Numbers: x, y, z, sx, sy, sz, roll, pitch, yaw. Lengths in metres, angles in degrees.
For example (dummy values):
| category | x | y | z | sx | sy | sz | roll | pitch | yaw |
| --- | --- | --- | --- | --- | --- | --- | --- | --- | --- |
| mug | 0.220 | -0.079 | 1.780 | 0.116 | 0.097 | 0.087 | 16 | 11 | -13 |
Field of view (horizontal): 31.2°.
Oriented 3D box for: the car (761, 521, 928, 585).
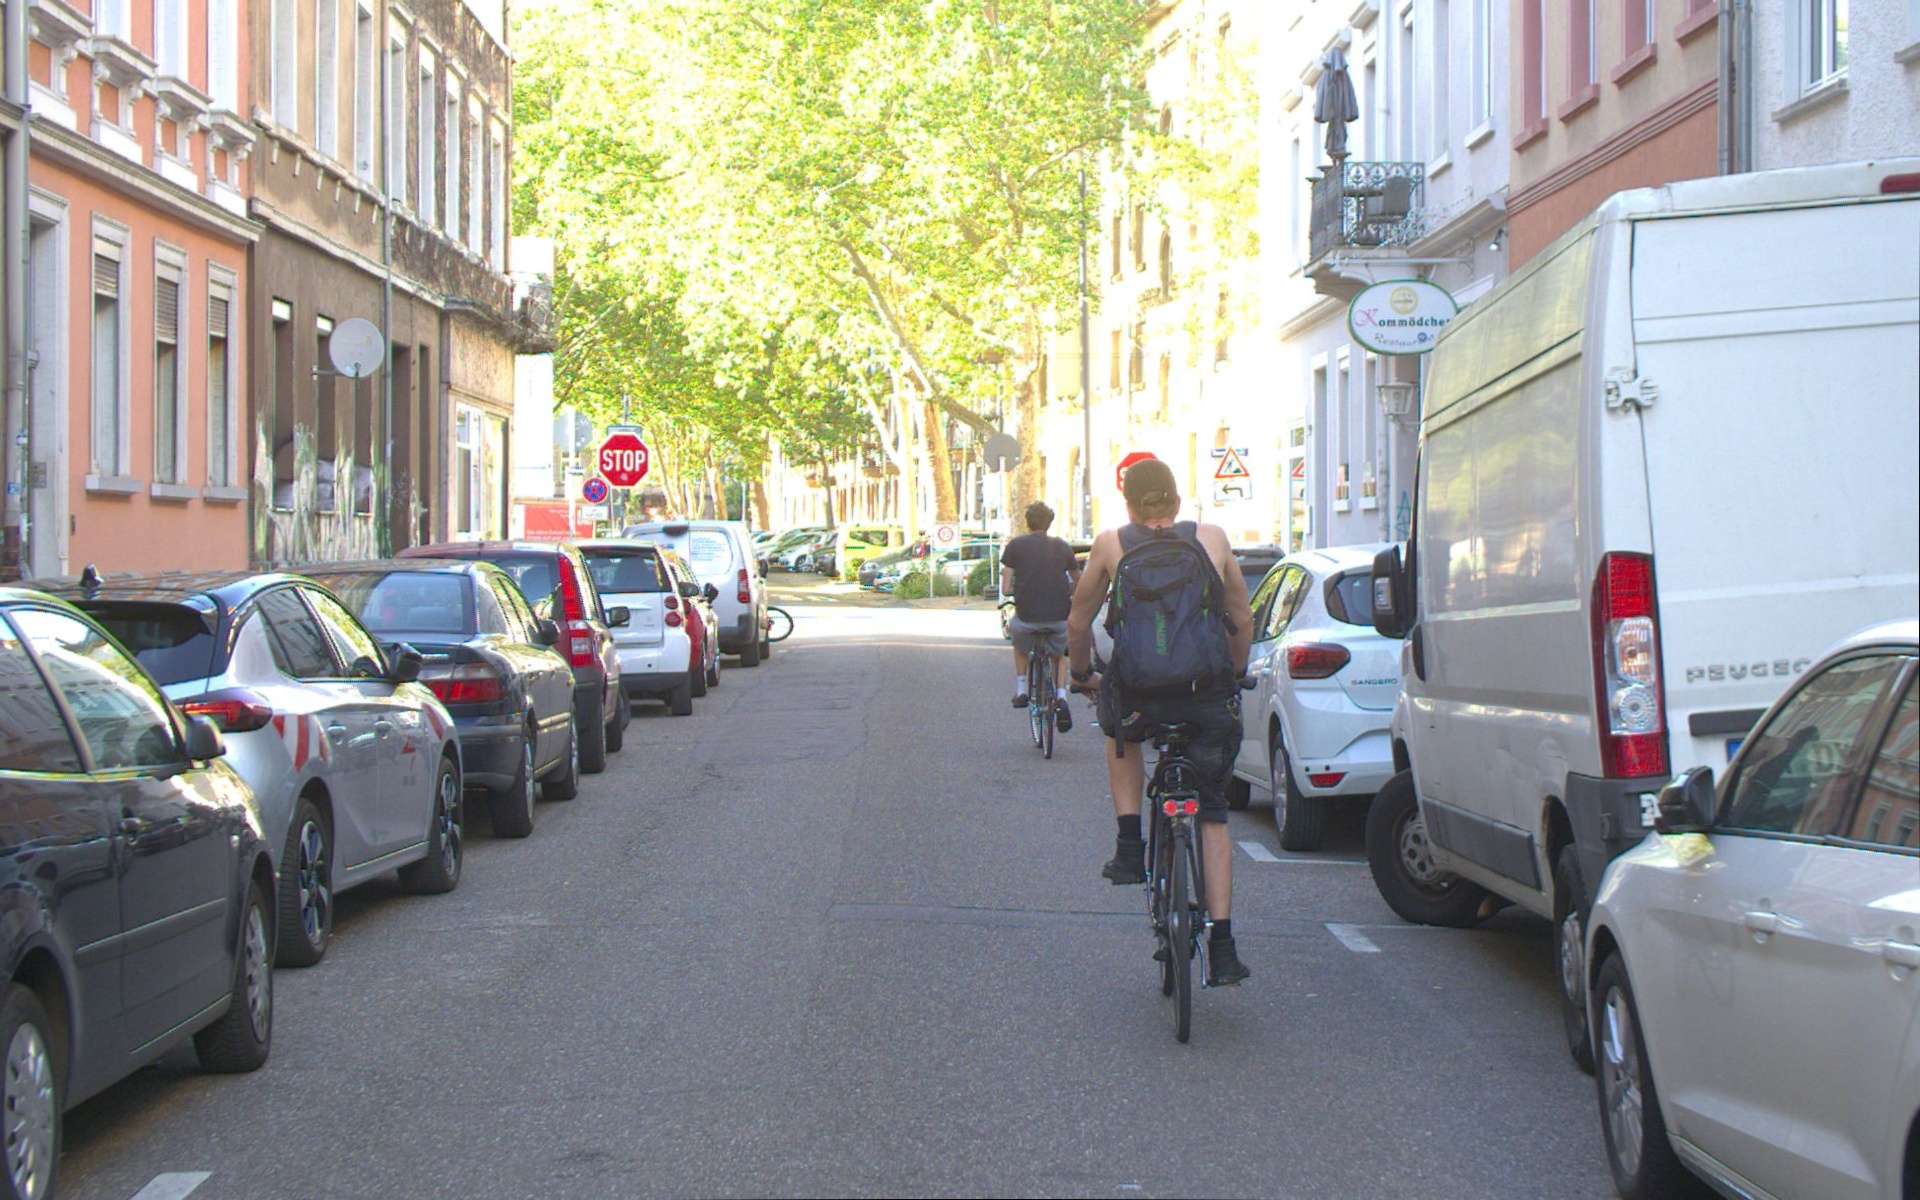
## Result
| category | x | y | z | sx | sy | sz | roll | pitch | yaw |
| --- | --- | --- | --- | --- | --- | --- | --- | --- | --- |
| car | -3.179 | -1.300 | 94.239 | 4.468 | 1.690 | 1.867 | -1 | 1 | -5 |

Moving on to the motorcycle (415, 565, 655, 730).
| category | x | y | z | sx | sy | sz | roll | pitch | yaw |
| --- | --- | --- | --- | --- | --- | --- | --- | --- | --- |
| motorcycle | -3.370 | 0.363 | 27.245 | 1.795 | 1.251 | 0.710 | -1 | 1 | -14 |

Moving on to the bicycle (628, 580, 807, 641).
| category | x | y | z | sx | sy | sz | roll | pitch | yaw |
| --- | --- | --- | --- | --- | --- | --- | --- | --- | --- |
| bicycle | -3.708 | 0.159 | 52.698 | 2.715 | 0.889 | 0.619 | -1 | 1 | -3 |

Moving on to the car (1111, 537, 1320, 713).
| category | x | y | z | sx | sy | sz | roll | pitch | yaw |
| --- | --- | --- | --- | --- | --- | --- | --- | --- | --- |
| car | 2.272 | 0.178 | 31.395 | 1.592 | 1.487 | 3.876 | -1 | 1 | 0 |

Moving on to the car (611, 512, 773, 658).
| category | x | y | z | sx | sy | sz | roll | pitch | yaw |
| --- | --- | --- | --- | --- | --- | --- | --- | --- | --- |
| car | -3.319 | -0.223 | 43.192 | 1.787 | 1.731 | 3.876 | -1 | 1 | -1 |

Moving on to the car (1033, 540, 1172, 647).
| category | x | y | z | sx | sy | sz | roll | pitch | yaw |
| --- | --- | --- | --- | --- | --- | --- | --- | --- | --- |
| car | 2.021 | -0.119 | 49.534 | 1.686 | 1.466 | 3.575 | -1 | 1 | -2 |

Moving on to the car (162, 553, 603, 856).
| category | x | y | z | sx | sy | sz | roll | pitch | yaw |
| --- | --- | --- | --- | --- | --- | --- | --- | --- | --- |
| car | -2.996 | 0.473 | 18.662 | 1.706 | 1.409 | 4.302 | -1 | 1 | -1 |

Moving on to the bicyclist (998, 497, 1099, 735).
| category | x | y | z | sx | sy | sz | roll | pitch | yaw |
| --- | --- | --- | --- | --- | --- | --- | --- | --- | --- |
| bicyclist | 0.622 | 0.103 | 24.365 | 0.669 | 1.653 | 0.877 | -1 | 1 | -1 |

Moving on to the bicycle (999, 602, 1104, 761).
| category | x | y | z | sx | sy | sz | roll | pitch | yaw |
| --- | --- | --- | --- | --- | --- | --- | --- | --- | --- |
| bicycle | 0.633 | 0.558 | 24.422 | 0.664 | 1.034 | 1.959 | -1 | 1 | -1 |

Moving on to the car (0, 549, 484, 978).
| category | x | y | z | sx | sy | sz | roll | pitch | yaw |
| --- | --- | --- | --- | --- | --- | --- | --- | --- | --- |
| car | -3.041 | 0.530 | 13.602 | 1.674 | 1.425 | 3.888 | -1 | 1 | 1 |

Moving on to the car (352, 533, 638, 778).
| category | x | y | z | sx | sy | sz | roll | pitch | yaw |
| --- | --- | --- | --- | --- | --- | --- | --- | --- | --- |
| car | -3.124 | 0.320 | 23.620 | 1.604 | 1.525 | 3.379 | -1 | 1 | -2 |

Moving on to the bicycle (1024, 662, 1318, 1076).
| category | x | y | z | sx | sy | sz | roll | pitch | yaw |
| --- | --- | --- | --- | --- | --- | --- | --- | --- | --- |
| bicycle | 0.626 | 0.794 | 10.912 | 0.740 | 1.097 | 2.042 | 1 | 1 | -1 |

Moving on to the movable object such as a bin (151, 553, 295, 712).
| category | x | y | z | sx | sy | sz | roll | pitch | yaw |
| --- | --- | --- | --- | --- | --- | --- | --- | --- | --- |
| movable object such as a bin | -5.618 | 0.242 | 26.235 | 0.834 | 1.122 | 0.716 | -5 | 1 | 2 |

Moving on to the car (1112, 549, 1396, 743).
| category | x | y | z | sx | sy | sz | roll | pitch | yaw |
| --- | --- | --- | --- | --- | --- | --- | --- | --- | --- |
| car | 2.171 | 0.293 | 26.304 | 1.657 | 1.334 | 4.001 | -1 | 1 | -2 |

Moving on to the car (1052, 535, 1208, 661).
| category | x | y | z | sx | sy | sz | roll | pitch | yaw |
| --- | --- | --- | --- | --- | --- | --- | --- | --- | --- |
| car | 2.138 | -0.061 | 43.959 | 1.652 | 1.525 | 3.575 | -1 | 1 | -2 |

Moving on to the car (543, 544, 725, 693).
| category | x | y | z | sx | sy | sz | roll | pitch | yaw |
| --- | --- | --- | --- | --- | --- | --- | --- | --- | --- |
| car | -3.245 | 0.148 | 34.759 | 1.552 | 1.395 | 3.668 | -1 | 1 | -1 |

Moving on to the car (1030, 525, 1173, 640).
| category | x | y | z | sx | sy | sz | roll | pitch | yaw |
| --- | --- | --- | --- | --- | --- | --- | --- | --- | --- |
| car | 2.219 | -0.310 | 54.831 | 1.893 | 1.763 | 4.001 | -1 | 1 | -3 |

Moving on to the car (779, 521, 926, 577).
| category | x | y | z | sx | sy | sz | roll | pitch | yaw |
| --- | --- | --- | --- | --- | --- | --- | --- | --- | --- |
| car | -3.383 | -1.611 | 107.481 | 4.468 | 1.690 | 1.867 | -1 | 1 | -5 |

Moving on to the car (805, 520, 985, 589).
| category | x | y | z | sx | sy | sz | roll | pitch | yaw |
| --- | --- | --- | --- | --- | --- | --- | --- | --- | --- |
| car | -1.675 | -1.164 | 87.909 | 4.468 | 1.690 | 1.867 | -1 | 1 | -5 |

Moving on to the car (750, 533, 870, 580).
| category | x | y | z | sx | sy | sz | roll | pitch | yaw |
| --- | --- | --- | --- | --- | --- | --- | --- | --- | --- |
| car | -5.678 | -1.650 | 130.006 | 4.468 | 1.690 | 1.867 | -1 | 1 | -5 |

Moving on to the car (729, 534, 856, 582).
| category | x | y | z | sx | sy | sz | roll | pitch | yaw |
| --- | --- | --- | --- | --- | --- | --- | --- | --- | --- |
| car | -6.028 | -1.513 | 123.268 | 4.468 | 1.690 | 1.867 | -1 | 1 | -5 |

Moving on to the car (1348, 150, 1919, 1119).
| category | x | y | z | sx | sy | sz | roll | pitch | yaw |
| --- | --- | --- | --- | --- | --- | --- | --- | --- | --- |
| car | 2.744 | 0.027 | 12.040 | 2.204 | 2.542 | 6.036 | -1 | 1 | 1 |

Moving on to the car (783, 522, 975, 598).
| category | x | y | z | sx | sy | sz | roll | pitch | yaw |
| --- | --- | --- | --- | --- | --- | --- | --- | --- | --- |
| car | -1.967 | -0.977 | 82.522 | 4.468 | 1.753 | 1.867 | -1 | 1 | -5 |

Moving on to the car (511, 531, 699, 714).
| category | x | y | z | sx | sy | sz | roll | pitch | yaw |
| --- | --- | --- | --- | --- | --- | --- | --- | --- | --- |
| car | -3.155 | 0.156 | 30.994 | 1.544 | 1.545 | 3.466 | -1 | 1 | -4 |

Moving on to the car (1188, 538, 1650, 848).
| category | x | y | z | sx | sy | sz | roll | pitch | yaw |
| --- | --- | --- | --- | --- | --- | --- | --- | --- | --- |
| car | 2.351 | 0.412 | 18.599 | 1.731 | 1.465 | 4.022 | -1 | 1 | -3 |

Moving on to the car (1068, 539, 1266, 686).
| category | x | y | z | sx | sy | sz | roll | pitch | yaw |
| --- | --- | --- | --- | --- | --- | --- | --- | --- | --- |
| car | 2.161 | 0.089 | 36.852 | 1.710 | 1.465 | 4.001 | -1 | 1 | -2 |

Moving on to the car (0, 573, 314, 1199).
| category | x | y | z | sx | sy | sz | roll | pitch | yaw |
| --- | --- | --- | --- | --- | --- | --- | --- | --- | --- |
| car | -2.771 | 0.681 | 8.628 | 1.592 | 1.435 | 3.654 | -1 | 1 | 0 |

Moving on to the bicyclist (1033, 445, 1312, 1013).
| category | x | y | z | sx | sy | sz | roll | pitch | yaw |
| --- | --- | --- | --- | --- | --- | --- | --- | --- | --- |
| bicyclist | 0.644 | 0.375 | 10.799 | 0.740 | 1.673 | 1.117 | 1 | 1 | -1 |

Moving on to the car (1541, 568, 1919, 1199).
| category | x | y | z | sx | sy | sz | roll | pitch | yaw |
| --- | --- | --- | --- | --- | --- | --- | --- | --- | --- |
| car | 2.375 | 0.674 | 6.628 | 1.725 | 1.424 | 3.833 | -1 | 1 | -2 |
